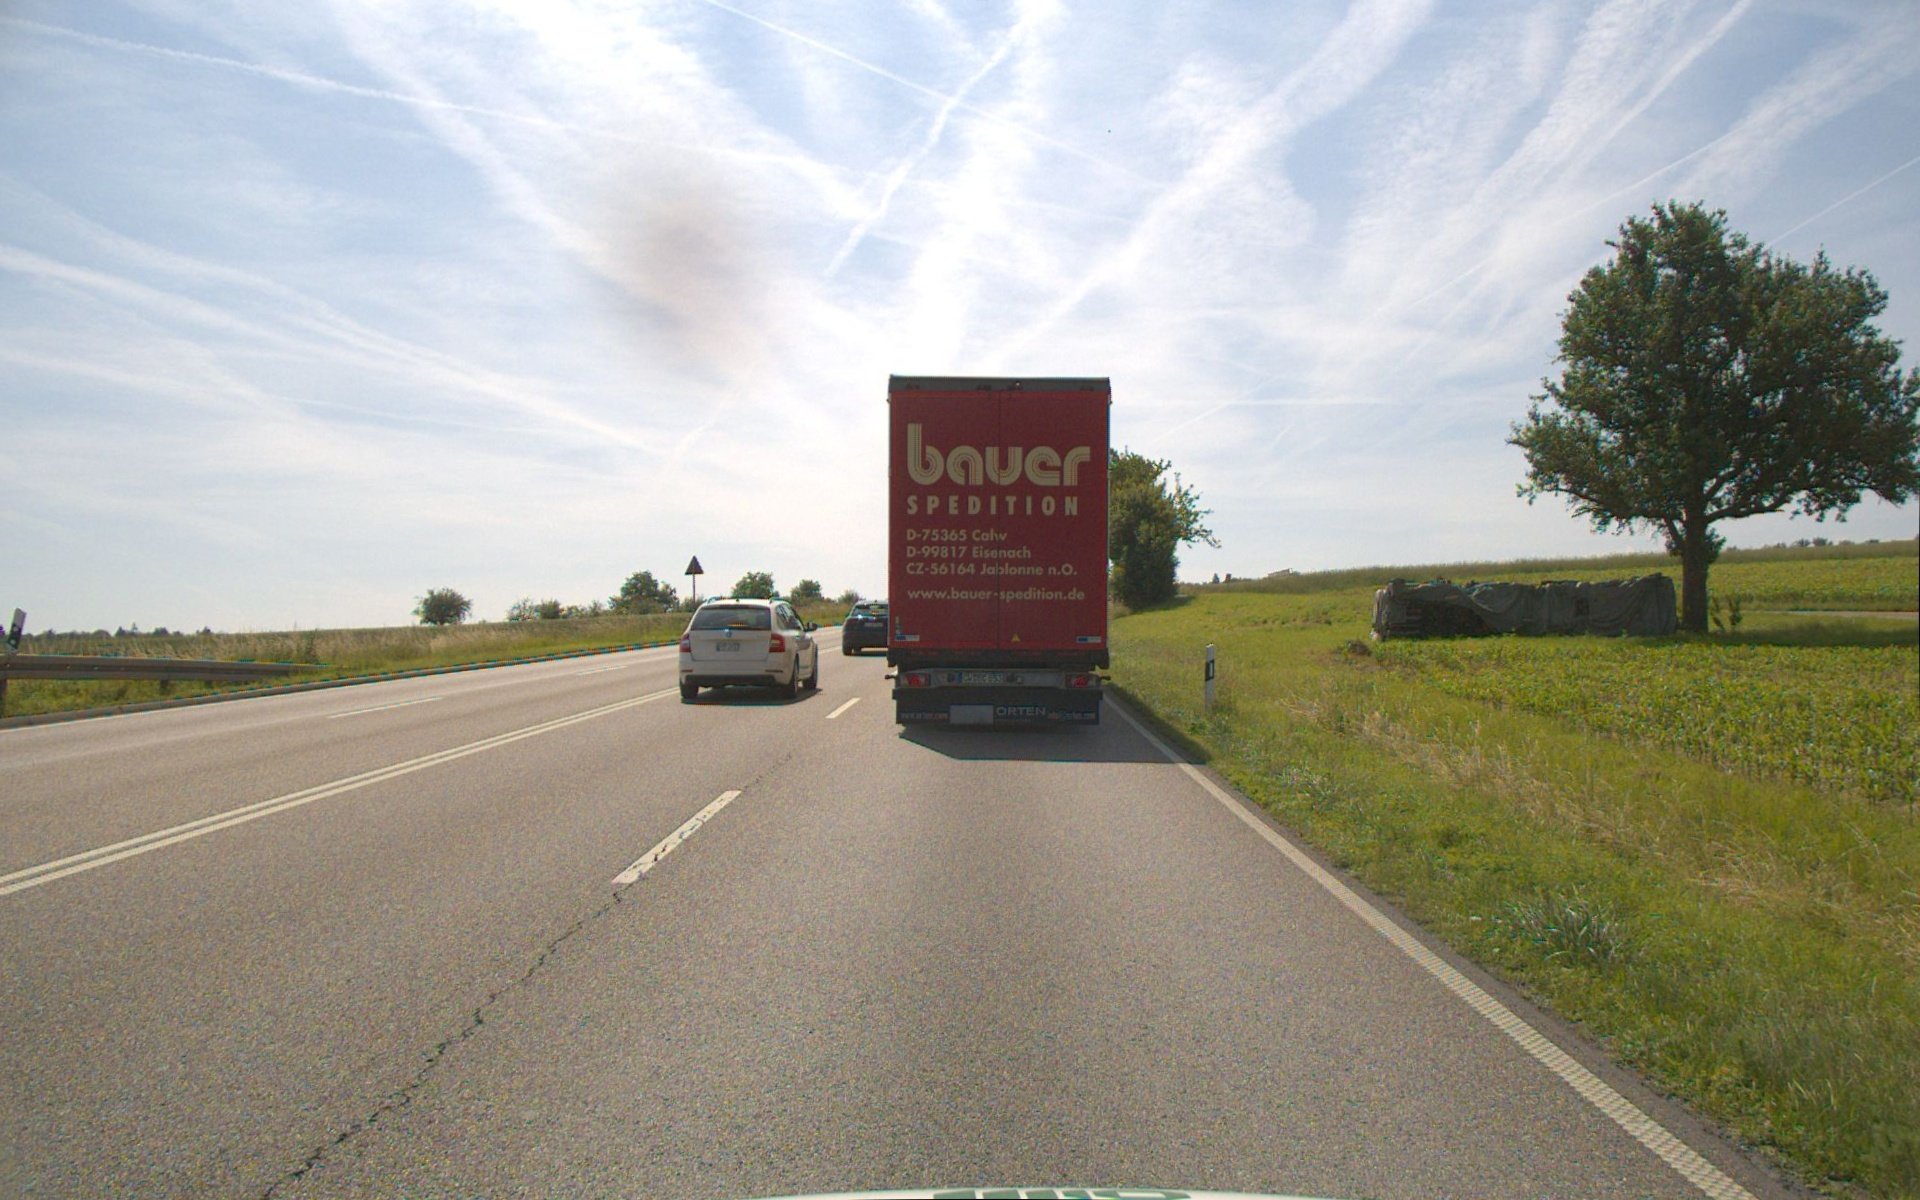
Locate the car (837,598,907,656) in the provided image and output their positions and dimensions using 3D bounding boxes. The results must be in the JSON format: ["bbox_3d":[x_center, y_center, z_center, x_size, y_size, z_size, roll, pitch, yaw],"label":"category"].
[{"bbox_3d":[-2.363,0.715,45.326,1.670,1.498,4.811,1,0,0],"label":"car"}]

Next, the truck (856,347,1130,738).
[{"bbox_3d":[0.520,-0.605,26.516,2.945,4.253,16.715,1,0,1],"label":"truck"}]

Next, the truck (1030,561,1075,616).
[{"bbox_3d":[7.243,-0.819,127.222,2.982,3.979,18.407,0,0,5],"label":"truck"}]

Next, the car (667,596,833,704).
[{"bbox_3d":[-3.161,0.709,25.839,1.783,1.498,4.790,1,0,2],"label":"car"}]
